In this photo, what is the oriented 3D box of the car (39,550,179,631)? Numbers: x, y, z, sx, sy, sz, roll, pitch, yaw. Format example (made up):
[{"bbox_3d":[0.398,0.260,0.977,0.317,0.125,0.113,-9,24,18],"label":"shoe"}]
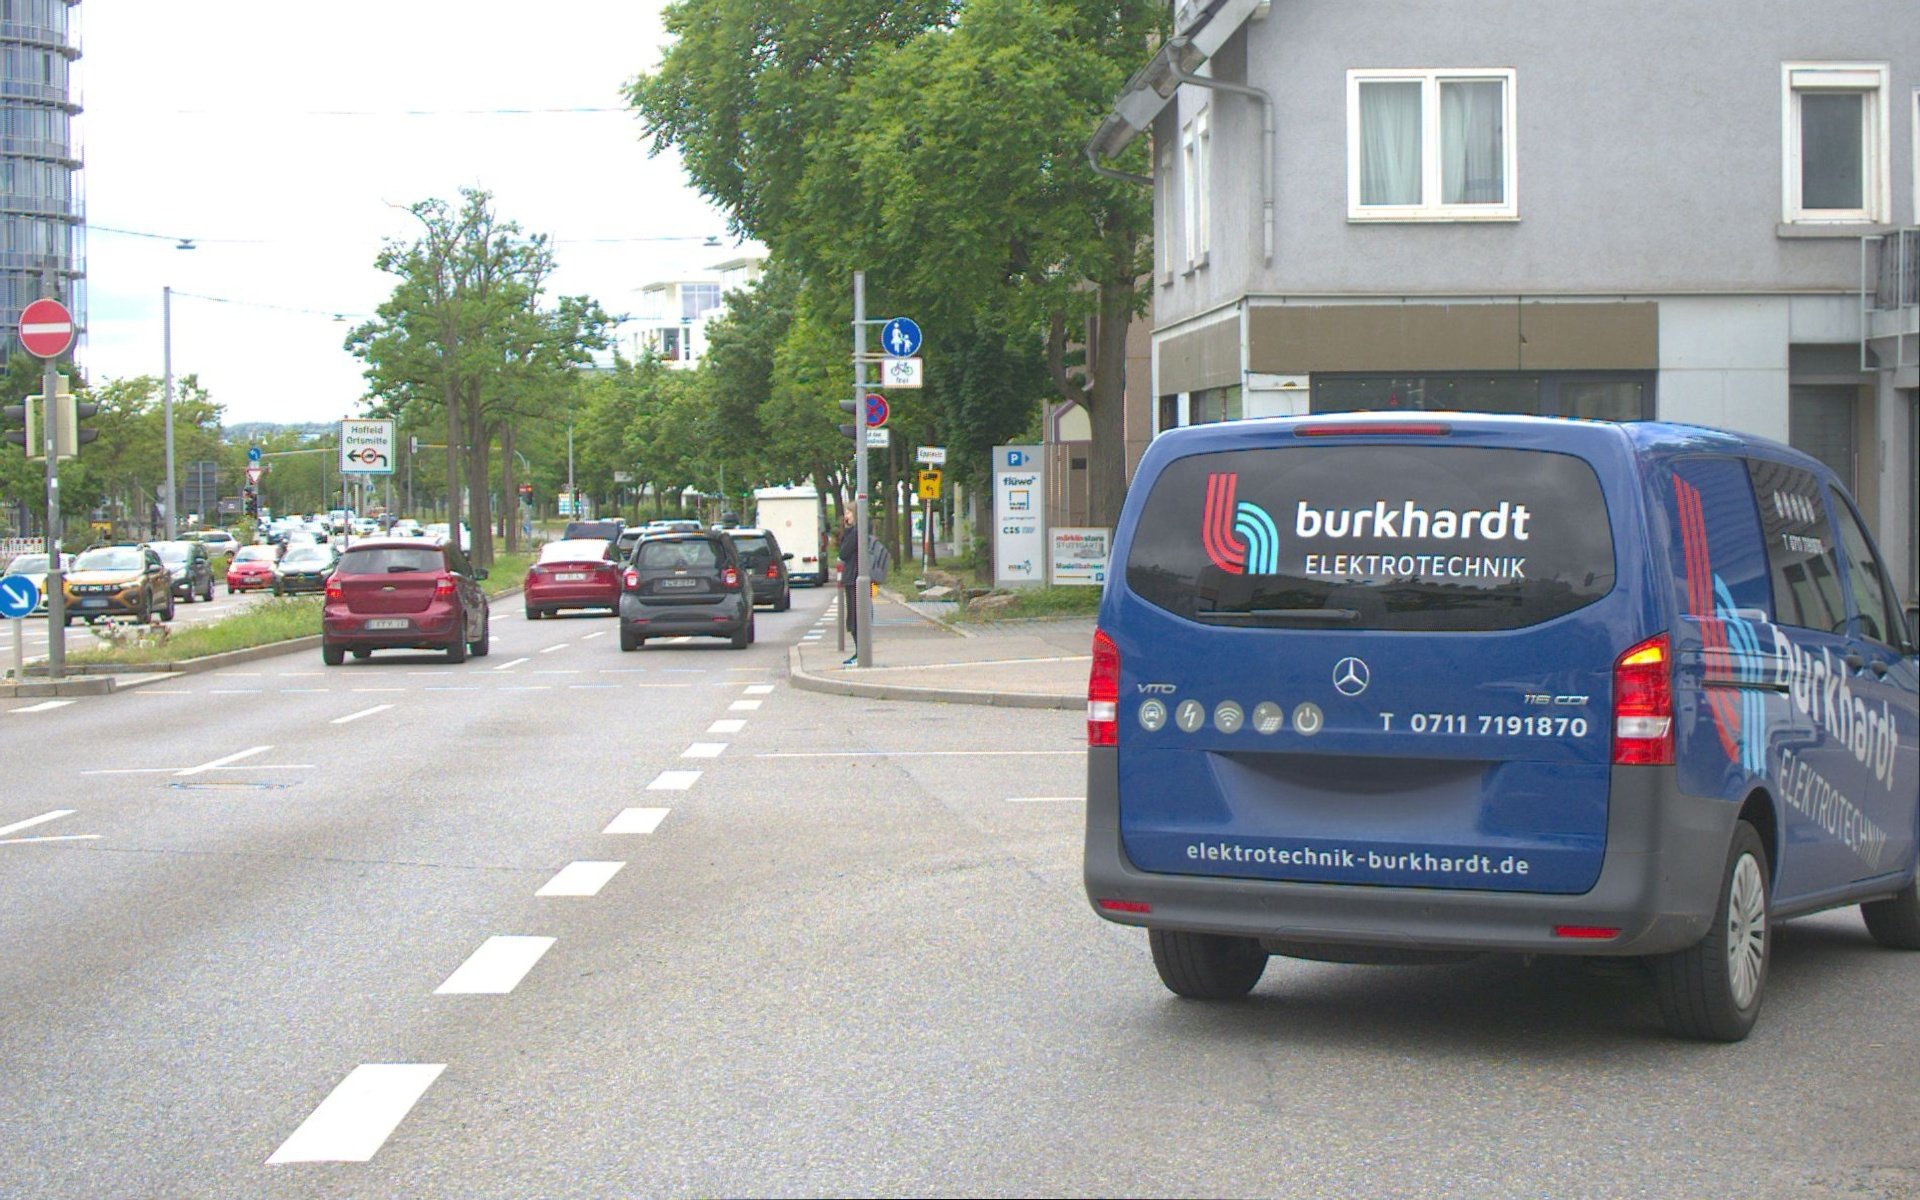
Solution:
[{"bbox_3d":[-16.693,-0.205,67.638,1.993,1.511,4.001,-1,1,-4],"label":"car"}]

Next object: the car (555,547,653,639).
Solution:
[{"bbox_3d":[-8.376,-0.188,80.577,1.993,2.006,4.001,1,2,-10],"label":"car"}]

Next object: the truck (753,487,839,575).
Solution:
[{"bbox_3d":[-4.222,-1.777,89.335,1.993,2.158,5.559,1,1,-1],"label":"truck"}]

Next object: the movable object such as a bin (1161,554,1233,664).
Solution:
[{"bbox_3d":[2.398,0.088,34.810,0.597,1.097,0.573,-1,1,-9],"label":"movable object such as a bin"}]

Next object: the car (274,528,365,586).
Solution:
[{"bbox_3d":[-17.893,-1.200,96.163,1.993,1.568,4.001,-1,1,-3],"label":"car"}]

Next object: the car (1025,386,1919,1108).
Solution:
[{"bbox_3d":[2.061,0.358,11.778,1.950,1.959,4.535,1,1,26],"label":"car"}]

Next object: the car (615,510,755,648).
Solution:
[{"bbox_3d":[-3.615,-0.302,45.523,1.746,1.717,4.001,-1,1,-4],"label":"car"}]

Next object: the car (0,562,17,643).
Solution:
[{"bbox_3d":[-19.582,0.075,66.098,1.993,1.568,4.001,-1,1,-3],"label":"car"}]

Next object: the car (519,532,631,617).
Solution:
[{"bbox_3d":[-7.253,-0.456,64.529,1.868,1.481,4.001,-1,-1,-9],"label":"car"}]

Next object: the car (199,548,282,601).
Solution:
[{"bbox_3d":[-22.231,-0.804,106.339,1.993,1.568,4.001,-1,1,-4],"label":"car"}]

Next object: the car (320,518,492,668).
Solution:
[{"bbox_3d":[-6.736,-0.118,42.100,1.746,1.717,4.001,-1,1,-5],"label":"car"}]

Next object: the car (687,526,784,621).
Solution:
[{"bbox_3d":[-4.219,-0.516,64.937,1.746,1.717,4.001,-1,1,-3],"label":"car"}]

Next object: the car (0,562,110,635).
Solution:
[{"bbox_3d":[-20.520,-0.053,77.298,1.993,1.568,4.001,-1,1,-3],"label":"car"}]

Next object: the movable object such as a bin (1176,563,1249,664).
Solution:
[{"bbox_3d":[2.510,0.131,34.215,0.597,0.984,0.573,-1,1,-9],"label":"movable object such as a bin"}]

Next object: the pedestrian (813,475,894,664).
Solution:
[{"bbox_3d":[-1.141,-0.330,37.008,0.771,2.007,0.877,-1,1,4],"label":"pedestrian"}]
